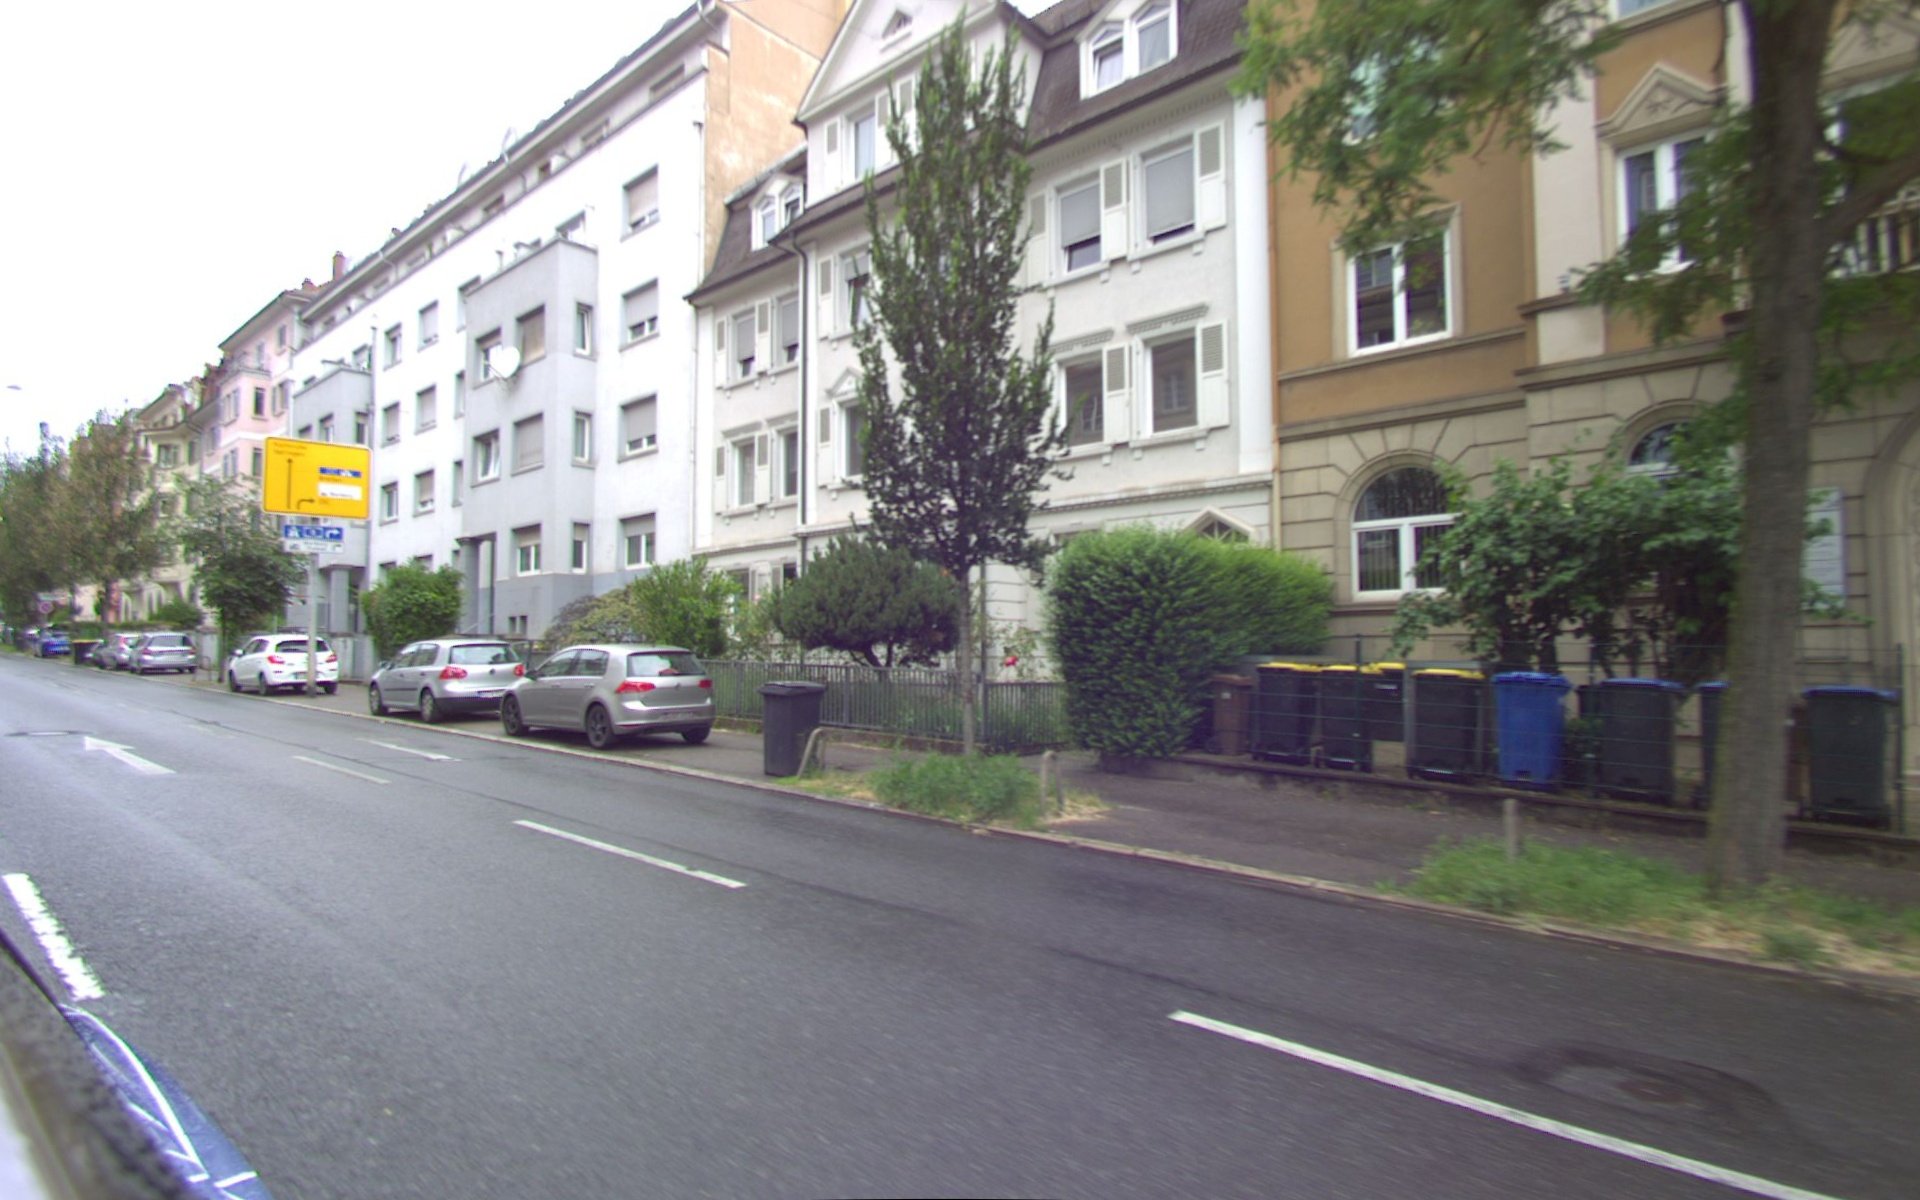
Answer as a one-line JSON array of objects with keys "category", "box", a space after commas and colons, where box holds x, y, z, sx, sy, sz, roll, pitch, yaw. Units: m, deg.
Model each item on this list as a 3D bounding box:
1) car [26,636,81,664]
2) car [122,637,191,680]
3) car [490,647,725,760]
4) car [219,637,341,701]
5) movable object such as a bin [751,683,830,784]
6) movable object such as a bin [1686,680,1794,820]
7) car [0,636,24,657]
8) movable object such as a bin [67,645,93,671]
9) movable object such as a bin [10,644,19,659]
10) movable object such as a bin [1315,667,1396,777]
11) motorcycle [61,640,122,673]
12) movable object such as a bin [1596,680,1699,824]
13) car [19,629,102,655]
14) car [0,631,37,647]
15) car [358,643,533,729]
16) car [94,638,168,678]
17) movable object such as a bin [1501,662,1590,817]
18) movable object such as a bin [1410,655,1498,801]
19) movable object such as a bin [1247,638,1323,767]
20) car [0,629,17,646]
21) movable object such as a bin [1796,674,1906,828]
[{"category": "car", "box": [-48.385, 2.654, 53.973, 4.601, 1.396, 1.661, -2, -3, 42]}, {"category": "car", "box": [-29.138, 2.074, 36.668, 1.582, 1.462, 3.890, 0, -2, -44]}, {"category": "car", "box": [-5.363, 1.437, 15.174, 3.935, 1.401, 1.664, -2, -2, 42]}, {"category": "car", "box": [-17.512, 1.711, 26.009, 3.794, 1.519, 1.629, -2, -3, 40]}, {"category": "movable object such as a bin", "box": [-1.944, 1.510, 11.618, 0.600, 1.066, 0.623, -1, -3, 42]}, {"category": "movable object such as a bin", "box": [6.308, 1.186, 8.189, 0.650, 1.049, 0.422, -2, -4, 41]}, {"category": "car", "box": [-69.366, 3.380, 73.471, 4.137, 1.428, 1.663, -1, -4, 42]}, {"category": "movable object such as a bin", "box": [-38.726, 2.537, 44.536, 0.483, 1.066, 0.816, -1, 0, 43]}, {"category": "movable object such as a bin", "box": [-58.096, 3.142, 62.174, 0.572, 0.896, 0.360, -2, -2, 41]}, {"category": "movable object such as a bin", "box": [3.996, 1.210, 10.223, 0.649, 1.047, 0.435, -2, -4, 41]}, {"category": "motorcycle", "box": [-36.582, 2.379, 42.629, 1.783, 1.325, 0.743, 1, -3, -7]}, {"category": "movable object such as a bin", "box": [5.842, 1.263, 8.601, 0.657, 1.139, 0.435, -2, -4, 41]}, {"category": "car", "box": [-71.192, 3.307, 80.145, 1.917, 1.919, 4.671, 0, -1, 40]}, {"category": "car", "box": [-101.750, 4.160, 108.508, 1.592, 1.634, 3.877, -1, -3, 42]}, {"category": "car", "box": [-9.705, 1.527, 18.967, 3.908, 1.401, 1.664, -2, -2, 42]}, {"category": "car", "box": [-32.735, 2.255, 39.930, 3.885, 1.407, 1.584, 0, -2, 41]}, {"category": "movable object such as a bin", "box": [5.293, 1.233, 9.159, 0.609, 1.319, 0.435, -2, -4, 41]}, {"category": "movable object such as a bin", "box": [4.693, 1.188, 9.619, 0.649, 1.319, 0.435, -2, -4, 41]}, {"category": "movable object such as a bin", "box": [3.455, 1.067, 10.763, 0.649, 1.309, 0.435, -2, -4, 41]}, {"category": "car", "box": [-104.407, 4.000, 109.046, 1.866, 1.861, 3.880, -1, -3, 39]}, {"category": "movable object such as a bin", "box": [6.795, 1.125, 7.738, 0.589, 1.089, 0.435, -2, -4, 41]}]
